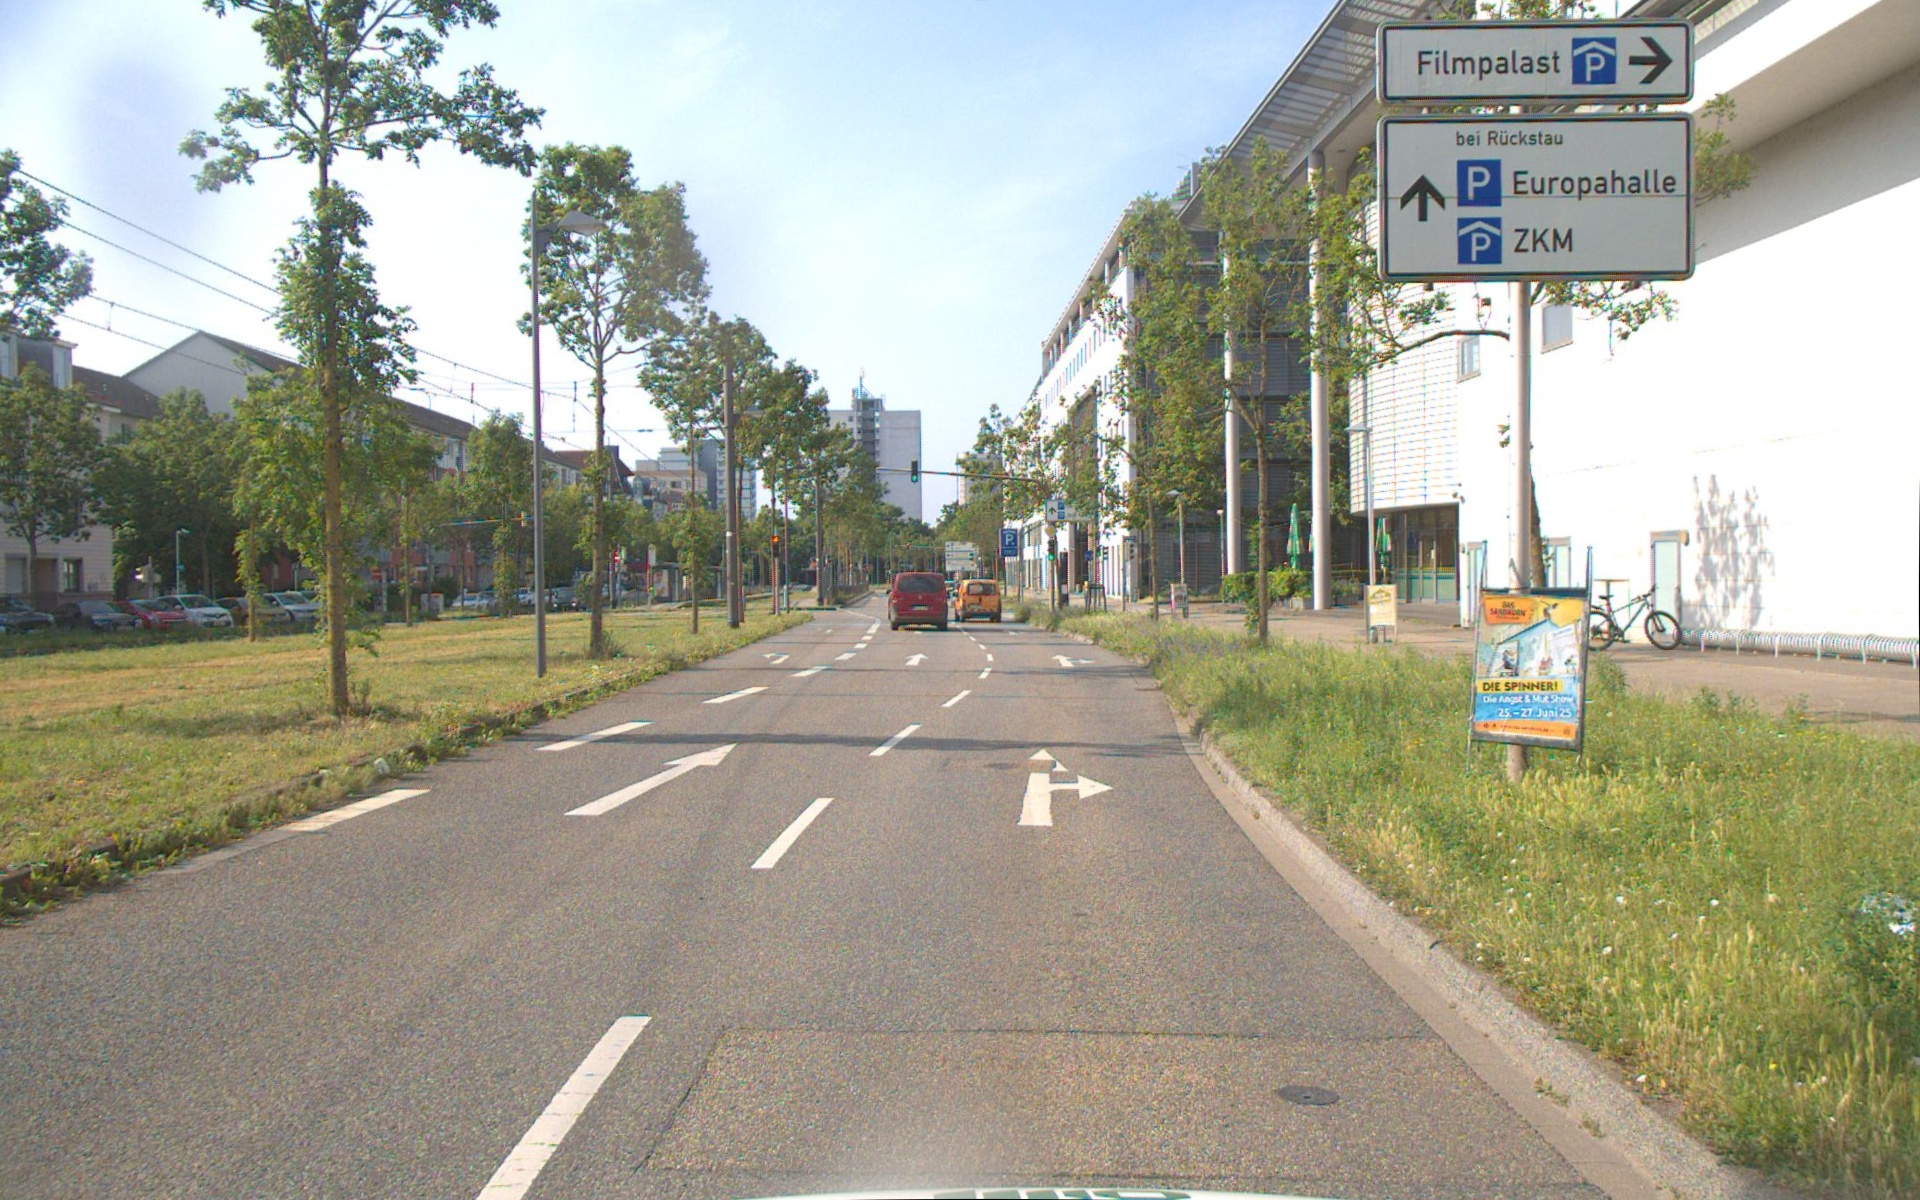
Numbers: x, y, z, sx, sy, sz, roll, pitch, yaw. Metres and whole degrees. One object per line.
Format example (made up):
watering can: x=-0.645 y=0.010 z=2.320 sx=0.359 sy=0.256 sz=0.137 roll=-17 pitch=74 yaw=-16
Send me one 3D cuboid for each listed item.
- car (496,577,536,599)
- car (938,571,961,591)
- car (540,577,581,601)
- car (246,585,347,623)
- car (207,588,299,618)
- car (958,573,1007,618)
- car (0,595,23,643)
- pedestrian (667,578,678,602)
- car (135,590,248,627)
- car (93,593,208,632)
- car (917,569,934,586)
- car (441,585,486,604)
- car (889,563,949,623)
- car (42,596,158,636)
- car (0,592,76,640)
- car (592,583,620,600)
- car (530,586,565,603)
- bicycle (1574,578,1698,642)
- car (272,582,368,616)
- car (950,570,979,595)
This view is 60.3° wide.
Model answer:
car: x=-33.280 y=-0.907 z=124.151 sx=1.941 sy=1.583 sz=4.535 roll=1 pitch=1 yaw=-3
car: x=-0.862 y=-1.556 z=135.061 sx=1.655 sy=1.552 sz=3.849 roll=-3 pitch=1 yaw=-2
car: x=-29.290 y=-0.842 z=121.319 sx=1.953 sy=1.735 sz=4.712 roll=-1 pitch=1 yaw=-1
car: x=-28.870 y=0.149 z=71.948 sx=4.373 sy=1.541 sz=1.993 roll=1 pitch=1 yaw=35
car: x=-29.594 y=0.115 z=69.210 sx=3.925 sy=1.199 sz=1.990 roll=1 pitch=1 yaw=39
car: x=0.884 y=-0.204 z=67.318 sx=1.838 sy=1.726 sz=3.973 roll=-1 pitch=1 yaw=-1
car: x=-28.482 y=0.495 z=46.282 sx=3.907 sy=1.310 sz=1.999 roll=1 pitch=1 yaw=24
pedestrian: x=-19.801 y=-0.694 z=113.847 sx=0.658 sy=1.682 sz=0.793 roll=-1 pitch=0 yaw=-6
car: x=-28.837 y=0.315 z=62.059 sx=3.911 sy=1.291 sz=1.884 roll=1 pitch=1 yaw=28
car: x=-28.944 y=0.434 z=59.130 sx=3.914 sy=1.280 sz=1.872 roll=1 pitch=1 yaw=31
car: x=-4.182 y=-2.694 z=198.737 sx=1.953 sy=2.049 sz=3.999 roll=-1 pitch=1 yaw=-2
car: x=-32.492 y=-0.388 z=108.311 sx=1.796 sy=1.167 sz=4.163 roll=1 pitch=1 yaw=-3
car: x=-1.399 y=-0.264 z=54.961 sx=1.837 sy=1.885 sz=3.998 roll=-1 pitch=1 yaw=-3
car: x=-28.866 y=0.521 z=55.517 sx=3.914 sy=1.256 sz=1.695 roll=1 pitch=1 yaw=32
car: x=-28.257 y=0.433 z=48.702 sx=3.966 sy=1.310 sz=1.999 roll=1 pitch=1 yaw=26
car: x=-34.326 y=-0.820 z=160.333 sx=1.941 sy=1.540 sz=4.279 roll=1 pitch=1 yaw=-3
car: x=-33.410 y=-0.460 z=133.967 sx=1.941 sy=1.384 sz=4.067 roll=1 pitch=1 yaw=-3
bicycle: x=12.242 y=0.173 z=30.003 sx=1.966 sy=1.122 sz=0.676 roll=-1 pitch=1 yaw=2
car: x=-29.250 y=-0.069 z=75.571 sx=4.260 sy=1.489 sz=1.959 roll=1 pitch=1 yaw=31
car: x=0.260 y=-1.163 z=108.475 sx=1.686 sy=1.545 sz=3.779 roll=-1 pitch=1 yaw=-3
